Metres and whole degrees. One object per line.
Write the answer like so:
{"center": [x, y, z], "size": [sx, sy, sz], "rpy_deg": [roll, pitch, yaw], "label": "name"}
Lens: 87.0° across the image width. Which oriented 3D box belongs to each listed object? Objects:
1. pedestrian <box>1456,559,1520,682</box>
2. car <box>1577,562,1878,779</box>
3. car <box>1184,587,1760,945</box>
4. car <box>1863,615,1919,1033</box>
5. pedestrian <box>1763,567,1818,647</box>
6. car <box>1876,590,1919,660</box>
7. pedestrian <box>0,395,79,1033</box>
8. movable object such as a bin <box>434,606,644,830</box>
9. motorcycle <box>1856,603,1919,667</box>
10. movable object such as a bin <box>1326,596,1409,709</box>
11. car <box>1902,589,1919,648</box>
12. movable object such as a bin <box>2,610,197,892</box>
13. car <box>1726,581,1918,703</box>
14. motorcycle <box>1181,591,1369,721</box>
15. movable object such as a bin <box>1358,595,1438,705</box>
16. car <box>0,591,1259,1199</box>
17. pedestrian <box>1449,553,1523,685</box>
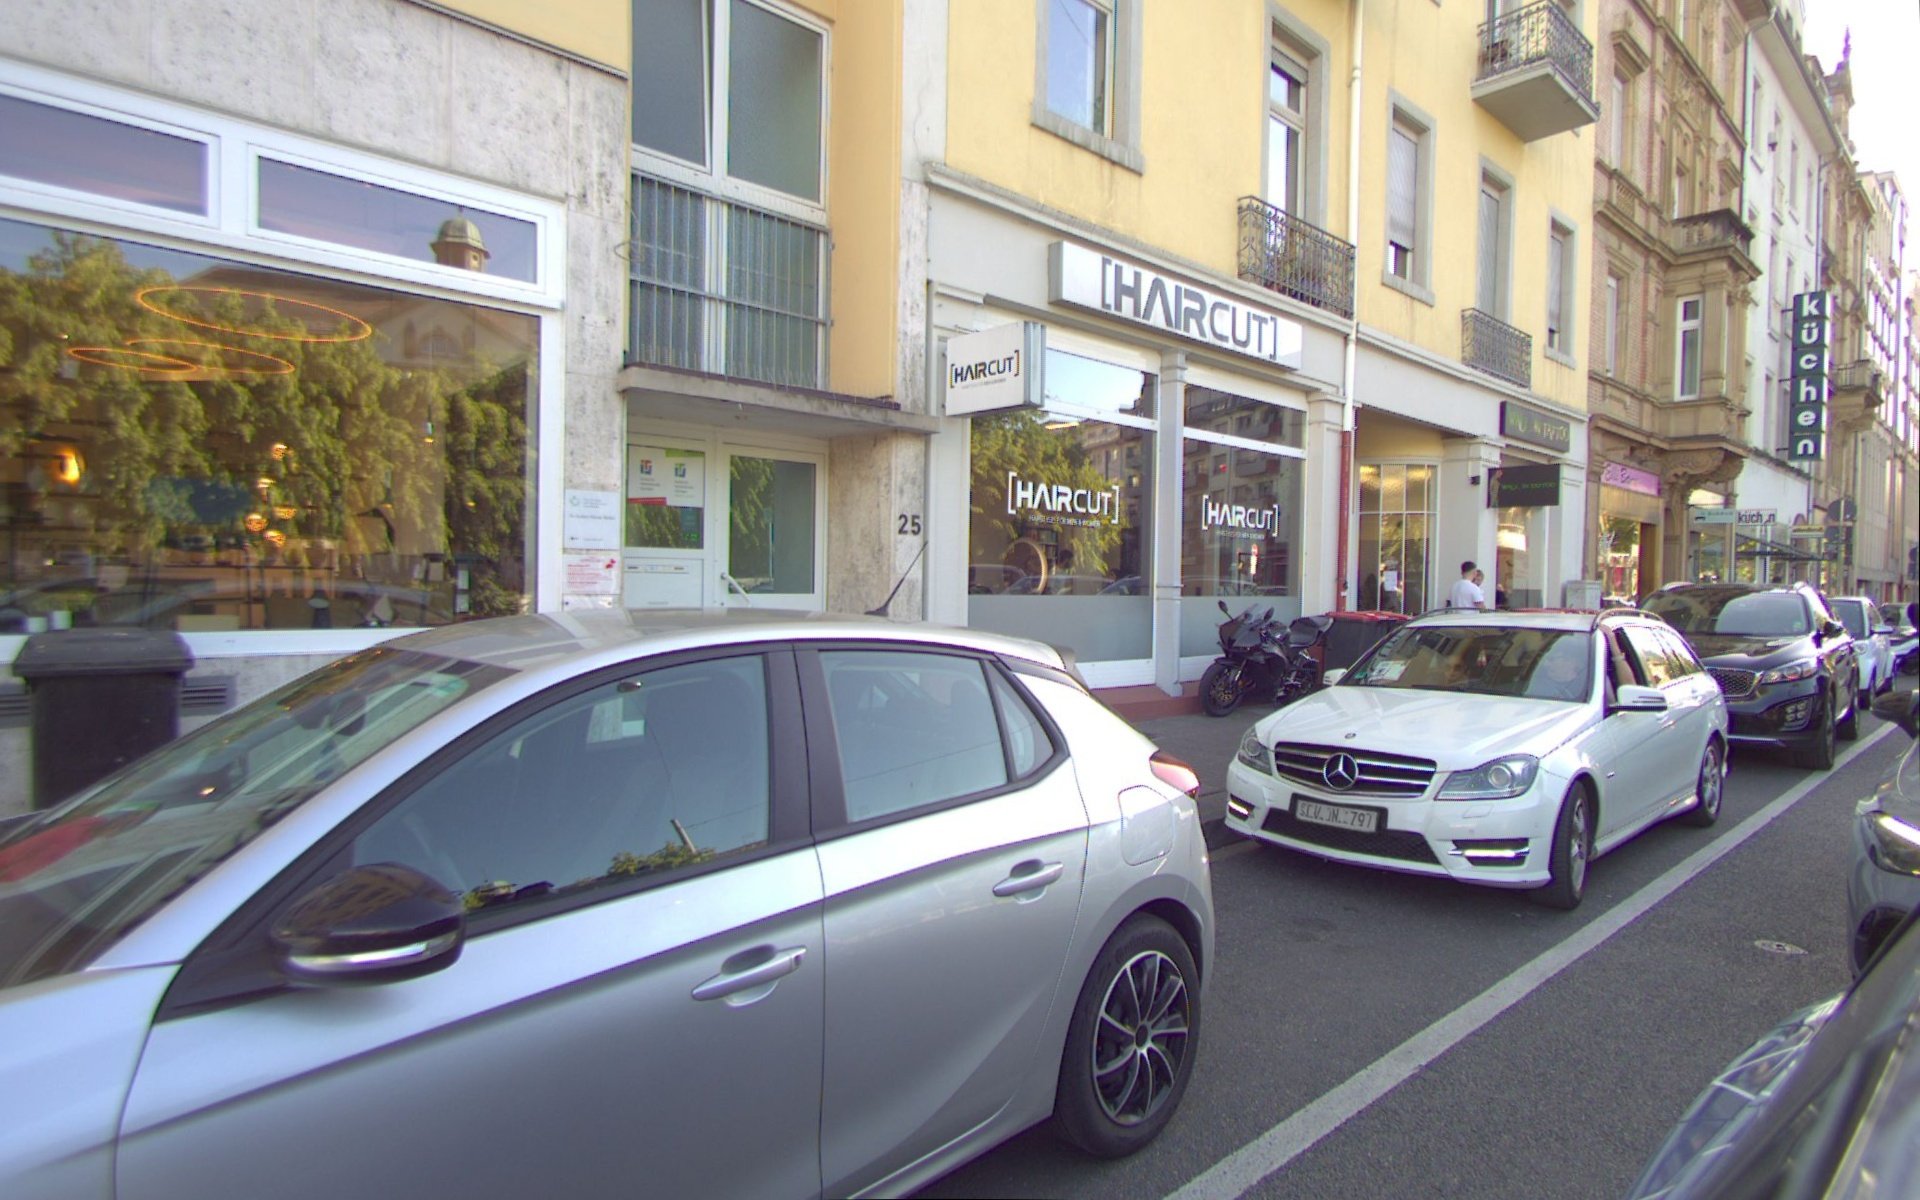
{"center": [7.255, 0.263, 13.907], "size": [0.631, 1.637, 0.572], "rpy_deg": [0, 0, -40], "label": "pedestrian"}
{"center": [7.983, 0.533, 10.335], "size": [1.853, 1.719, 4.623], "rpy_deg": [1, 1, 45], "label": "car"}
{"center": [3.486, 0.677, 6.409], "size": [4.519, 1.480, 1.757], "rpy_deg": [0, 1, -42], "label": "car"}
{"center": [5.336, 0.779, 4.285], "size": [4.183, 1.396, 1.846], "rpy_deg": [0, 1, -42], "label": "car"}
{"center": [17.379, 0.136, 21.181], "size": [0.750, 1.637, 0.794], "rpy_deg": [0, 1, -43], "label": "pedestrian"}
{"center": [22.249, 0.529, 23.010], "size": [3.931, 1.504, 1.713], "rpy_deg": [0, 1, -42], "label": "car"}
{"center": [-3.330, 0.307, 2.968], "size": [0.989, 1.805, 0.868], "rpy_deg": [0, 3, -32], "label": "pedestrian"}
{"center": [-2.304, 0.584, 5.542], "size": [0.878, 1.066, 0.752], "rpy_deg": [0, 1, -40], "label": "movable object such as a bin"}
{"center": [19.283, 0.708, 20.515], "size": [1.514, 1.248, 0.771], "rpy_deg": [1, 0, 1], "label": "motorcycle"}
{"center": [4.632, 0.570, 11.497], "size": [0.633, 1.222, 0.647], "rpy_deg": [0, 0, -40], "label": "movable object such as a bin"}
{"center": [26.395, 0.481, 26.858], "size": [3.931, 1.504, 1.713], "rpy_deg": [0, 1, -42], "label": "car"}
{"center": [-3.683, 0.581, 4.357], "size": [0.591, 1.041, 0.812], "rpy_deg": [0, 1, -40], "label": "movable object such as a bin"}
{"center": [12.646, 0.528, 14.816], "size": [2.965, 1.587, 1.695], "rpy_deg": [0, 1, -40], "label": "car"}
{"center": [3.316, 0.521, 10.524], "size": [2.208, 1.179, 0.773], "rpy_deg": [0, 4, -41], "label": "motorcycle"}
{"center": [5.142, 0.564, 11.886], "size": [0.633, 1.222, 0.647], "rpy_deg": [0, 0, -40], "label": "movable object such as a bin"}
{"center": [-1.036, 0.699, 2.315], "size": [3.642, 1.415, 1.652], "rpy_deg": [0, 1, -42], "label": "car"}
{"center": [6.756, 0.227, 13.002], "size": [0.689, 1.637, 0.641], "rpy_deg": [0, 0, -42], "label": "pedestrian"}
